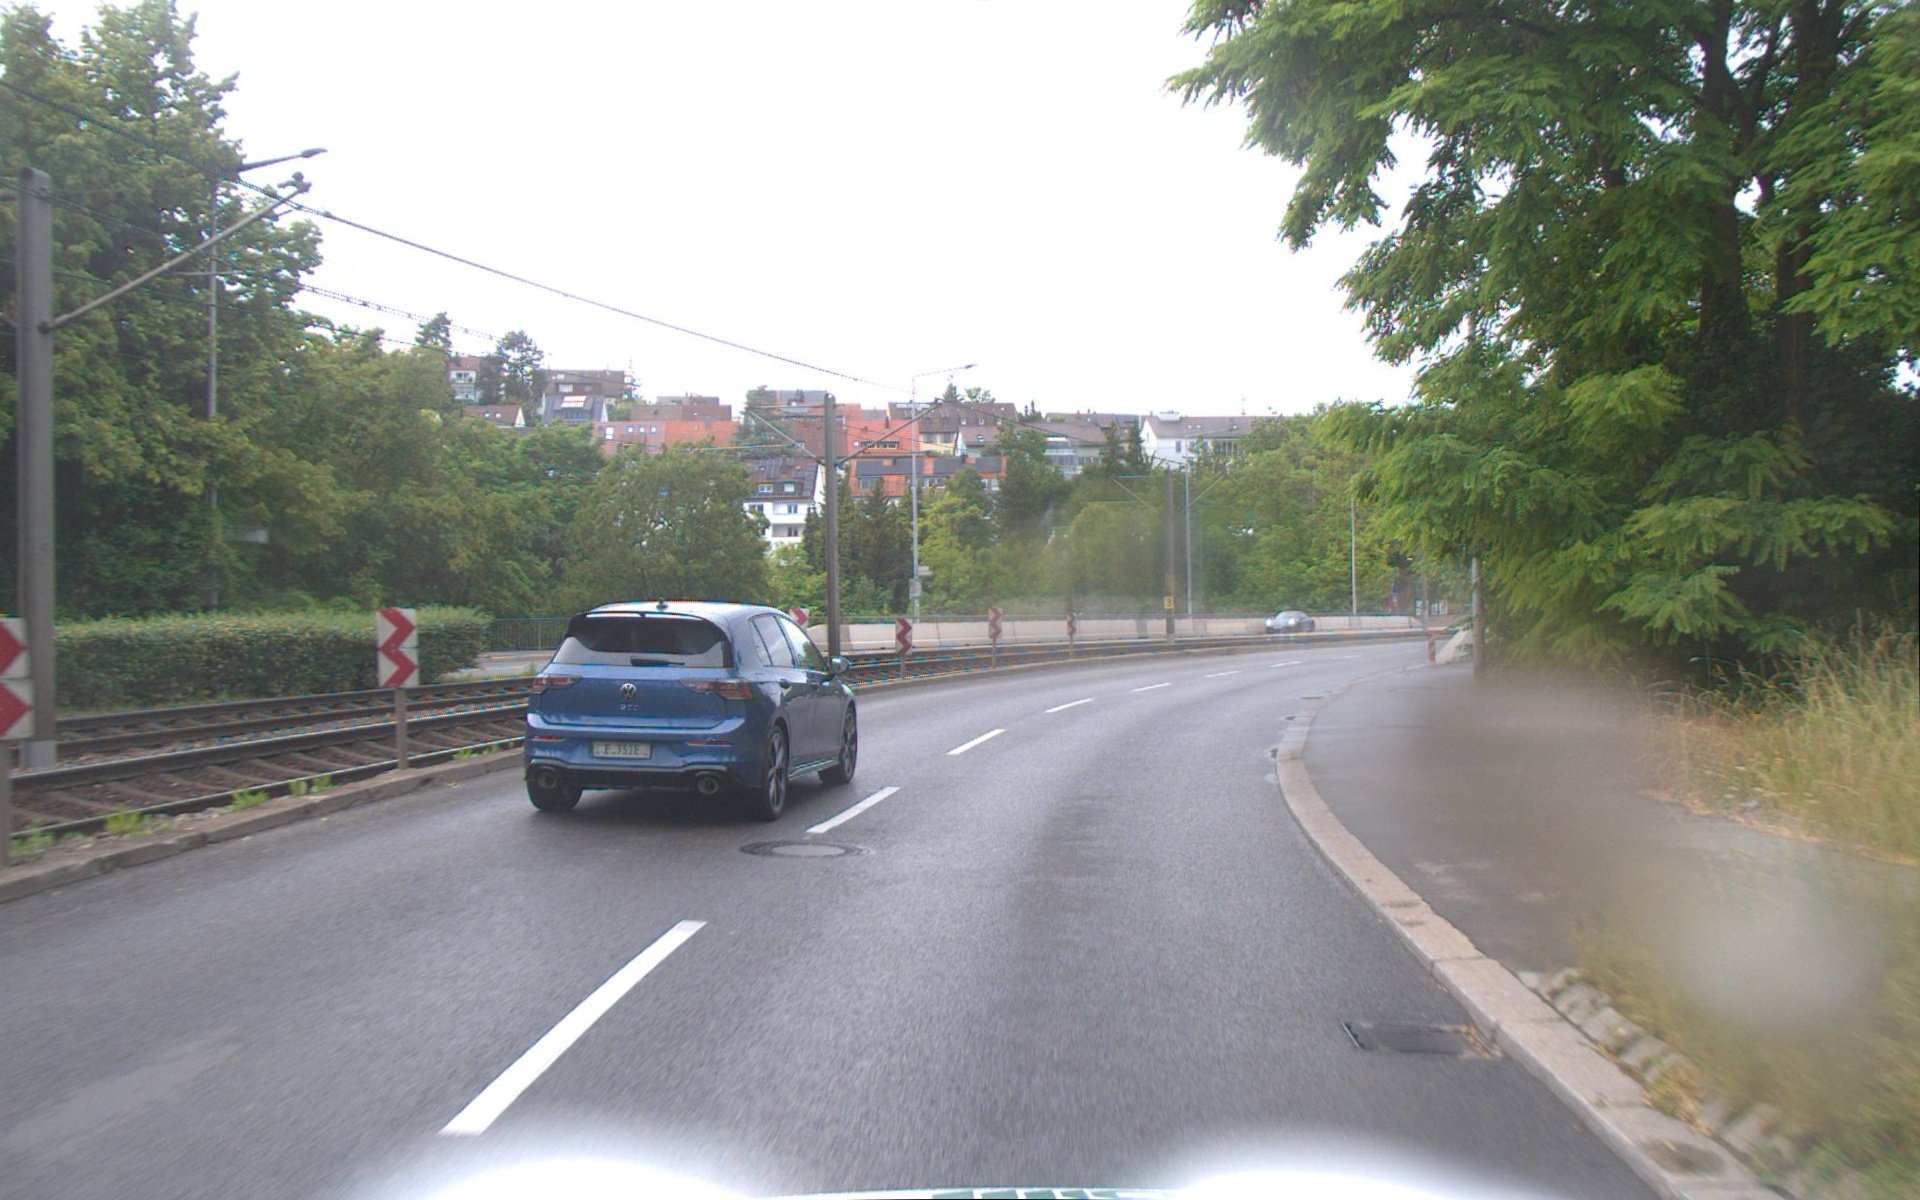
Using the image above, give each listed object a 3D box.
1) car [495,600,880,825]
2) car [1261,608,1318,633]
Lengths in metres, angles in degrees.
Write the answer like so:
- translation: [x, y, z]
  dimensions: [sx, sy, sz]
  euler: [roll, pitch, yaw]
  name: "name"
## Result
- translation: [-1.856, 0.715, 12.727]
  dimensions: [1.770, 1.402, 4.350]
  euler: [1, 0, 7]
  name: "car"
- translation: [18.682, 1.150, 93.685]
  dimensions: [1.956, 1.390, 4.183]
  euler: [0, 0, 30]
  name: "car"
